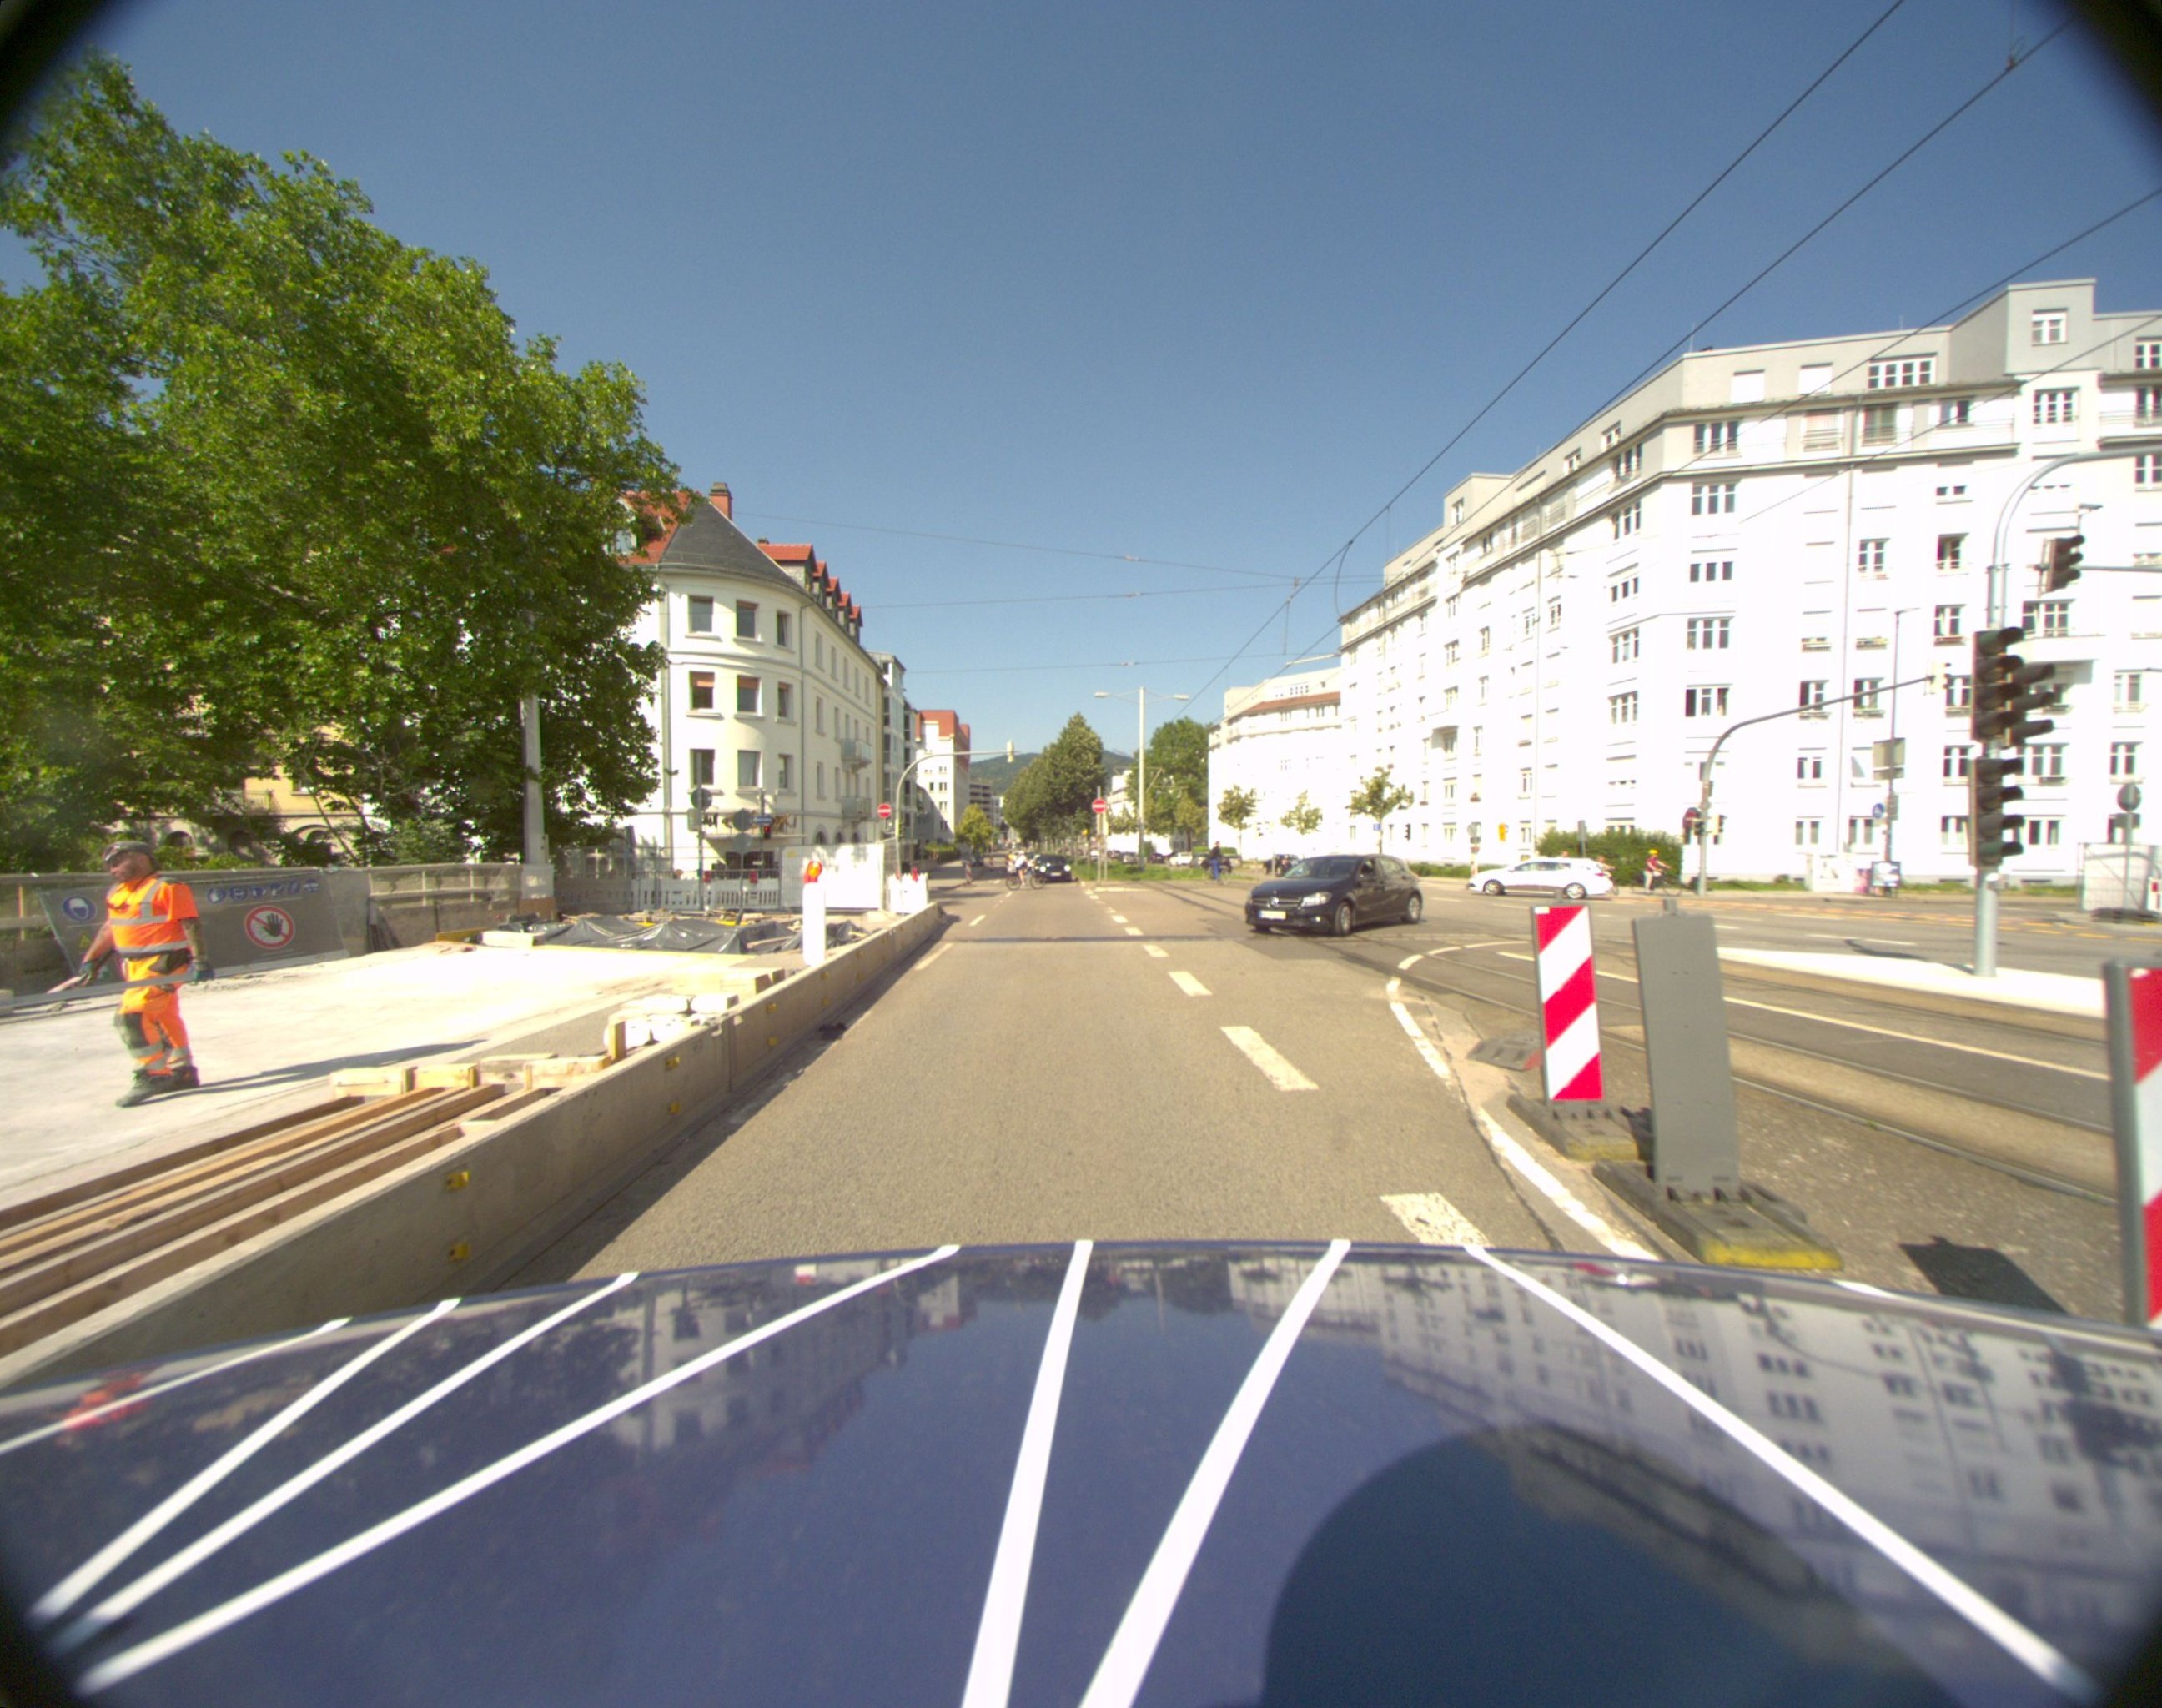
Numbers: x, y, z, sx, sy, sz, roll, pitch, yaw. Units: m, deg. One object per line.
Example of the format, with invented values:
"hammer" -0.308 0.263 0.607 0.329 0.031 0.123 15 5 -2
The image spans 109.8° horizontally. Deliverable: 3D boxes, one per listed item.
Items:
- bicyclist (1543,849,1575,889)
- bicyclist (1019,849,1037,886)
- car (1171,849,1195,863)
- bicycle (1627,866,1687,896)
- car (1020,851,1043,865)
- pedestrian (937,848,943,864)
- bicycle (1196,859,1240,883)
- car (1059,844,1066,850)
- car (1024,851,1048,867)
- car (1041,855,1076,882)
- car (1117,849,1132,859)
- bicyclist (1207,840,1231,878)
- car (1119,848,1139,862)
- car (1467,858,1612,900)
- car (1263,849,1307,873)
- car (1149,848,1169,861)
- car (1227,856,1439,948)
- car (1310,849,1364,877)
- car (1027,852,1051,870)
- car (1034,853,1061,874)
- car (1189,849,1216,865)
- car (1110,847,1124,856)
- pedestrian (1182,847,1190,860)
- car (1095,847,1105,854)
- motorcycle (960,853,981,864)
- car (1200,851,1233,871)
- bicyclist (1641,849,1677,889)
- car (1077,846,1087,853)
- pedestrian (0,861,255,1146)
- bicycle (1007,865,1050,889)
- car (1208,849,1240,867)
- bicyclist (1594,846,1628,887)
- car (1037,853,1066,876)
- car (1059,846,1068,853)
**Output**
"bicyclist" 19.599 0.615 31.155 0.624 1.581 0.916 -1 2 -14
"bicyclist" -2.293 0.581 32.946 0.784 1.541 0.709 0 3 -6
"car" 11.126 0.158 82.843 1.740 1.476 3.737 -1 1 -6
"bicycle" 22.053 1.017 29.133 0.605 1.093 1.811 -1 1 -17
"car" -4.913 0.360 74.919 1.768 1.346 3.996 -1 1 -9
"pedestrian" -15.616 0.166 84.024 0.599 1.753 0.751 -1 1 -8
"bicycle" 6.171 0.750 34.308 1.909 1.014 0.822 -2 0 10
"car" -5.195 -2.059 215.230 1.798 1.672 3.738 -1 1 -4
"car" -4.030 0.417 67.598 1.768 1.346 3.997 -1 1 -7
"car" -1.150 0.756 41.086 1.767 1.313 3.999 -1 1 0
"car" 6.800 -0.045 119.156 1.740 1.476 3.737 -1 1 -6
"bicyclist" 6.215 0.231 34.304 1.008 1.644 0.810 -2 -1 10
"car" 5.377 0.132 85.037 1.696 1.547 3.654 0 1 -5
"car" 16.956 0.865 28.206 4.473 1.404 1.706 0 1 36
"car" 14.717 0.455 54.933 1.740 1.628 3.737 -1 1 -8
"car" 9.789 0.033 95.581 1.740 1.476 3.737 -1 1 -6
"car" 4.911 0.778 14.432 4.632 1.400 1.699 -1 1 -41
"car" 15.631 0.527 46.647 1.740 1.628 3.737 -1 1 -6
"car" -3.385 0.516 60.546 1.767 1.346 3.998 -1 1 -5
"car" -2.411 0.632 54.153 1.767 1.346 3.998 -1 1 -3
"car" 12.060 0.272 75.630 1.740 1.476 3.737 -1 1 -6
"car" 5.944 -0.372 127.041 1.740 1.476 3.737 -1 1 -6
"pedestrian" 13.694 -0.046 98.945 0.858 1.656 0.910 0 1 -1
"car" 3.883 -0.725 155.865 1.739 1.476 3.738 -1 1 -4
"motorcycle" -11.779 0.519 81.130 2.177 1.159 0.744 0 1 0
"car" 10.609 0.532 59.532 1.594 1.484 3.660 1 1 -5
"bicyclist" 22.081 0.553 29.016 0.598 1.469 0.916 -1 1 -17
"car" 0.148 -0.894 164.266 1.798 1.476 3.738 -1 1 -4
"pedestrian" -6.588 0.957 5.241 0.821 1.784 0.863 1 1 -2
"bicycle" -2.297 1.009 32.979 1.819 0.985 0.709 0 3 -6
"car" 12.671 0.329 67.511 1.740 1.476 3.737 -1 1 -6
"bicyclist" 20.680 0.465 29.662 0.624 1.570 0.916 -2 1 -15
"car" -1.889 0.615 48.352 1.767 1.346 3.999 -1 1 -2
"car" -3.975 -1.107 175.323 1.798 1.476 3.738 -1 1 -4
